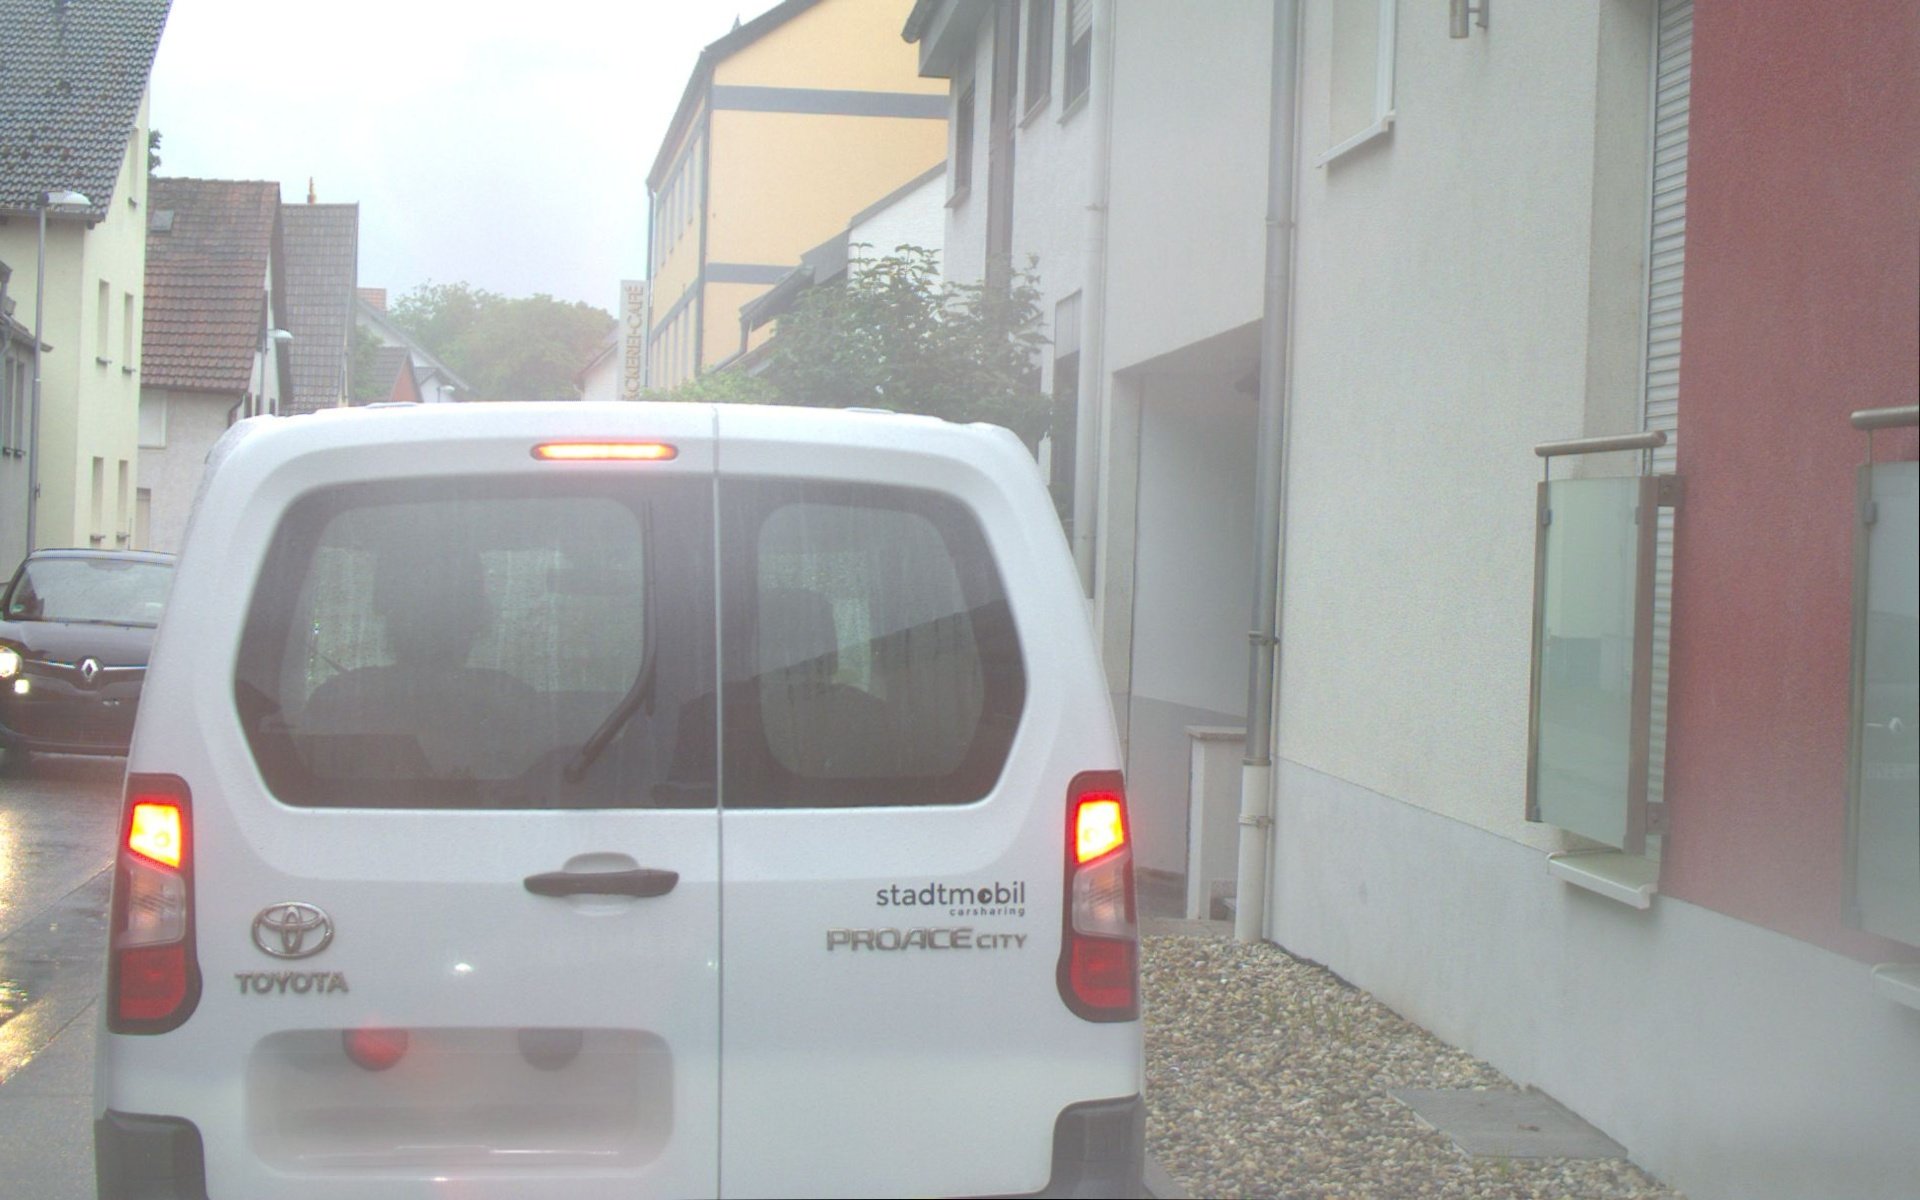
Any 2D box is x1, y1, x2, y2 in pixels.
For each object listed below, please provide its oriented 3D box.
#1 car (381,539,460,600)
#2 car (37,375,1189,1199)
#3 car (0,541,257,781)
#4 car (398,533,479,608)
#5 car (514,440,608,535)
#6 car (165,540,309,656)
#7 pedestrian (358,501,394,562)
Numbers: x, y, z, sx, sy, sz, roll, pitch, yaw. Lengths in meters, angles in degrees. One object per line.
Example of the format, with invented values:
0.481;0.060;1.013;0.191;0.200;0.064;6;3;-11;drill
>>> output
-12.754;-0.731;81.151;1.779;1.390;4.001;1;1;-10;car
-0.833;0.533;7.341;1.774;1.774;4.001;1;1;-9;car
-5.899;0.369;24.094;1.604;1.508;3.689;2;1;-8;car
-10.775;-0.615;70.900;1.560;1.472;4.001;1;1;-10;car
-8.828;-2.465;76.333;1.993;2.007;4.001;1;1;-6;car
-10.405;-0.057;49.722;1.832;1.550;4.241;2;1;-10;car
-18.168;-2.124;106.989;1.050;1.886;0.877;1;0;-9;pedestrian
